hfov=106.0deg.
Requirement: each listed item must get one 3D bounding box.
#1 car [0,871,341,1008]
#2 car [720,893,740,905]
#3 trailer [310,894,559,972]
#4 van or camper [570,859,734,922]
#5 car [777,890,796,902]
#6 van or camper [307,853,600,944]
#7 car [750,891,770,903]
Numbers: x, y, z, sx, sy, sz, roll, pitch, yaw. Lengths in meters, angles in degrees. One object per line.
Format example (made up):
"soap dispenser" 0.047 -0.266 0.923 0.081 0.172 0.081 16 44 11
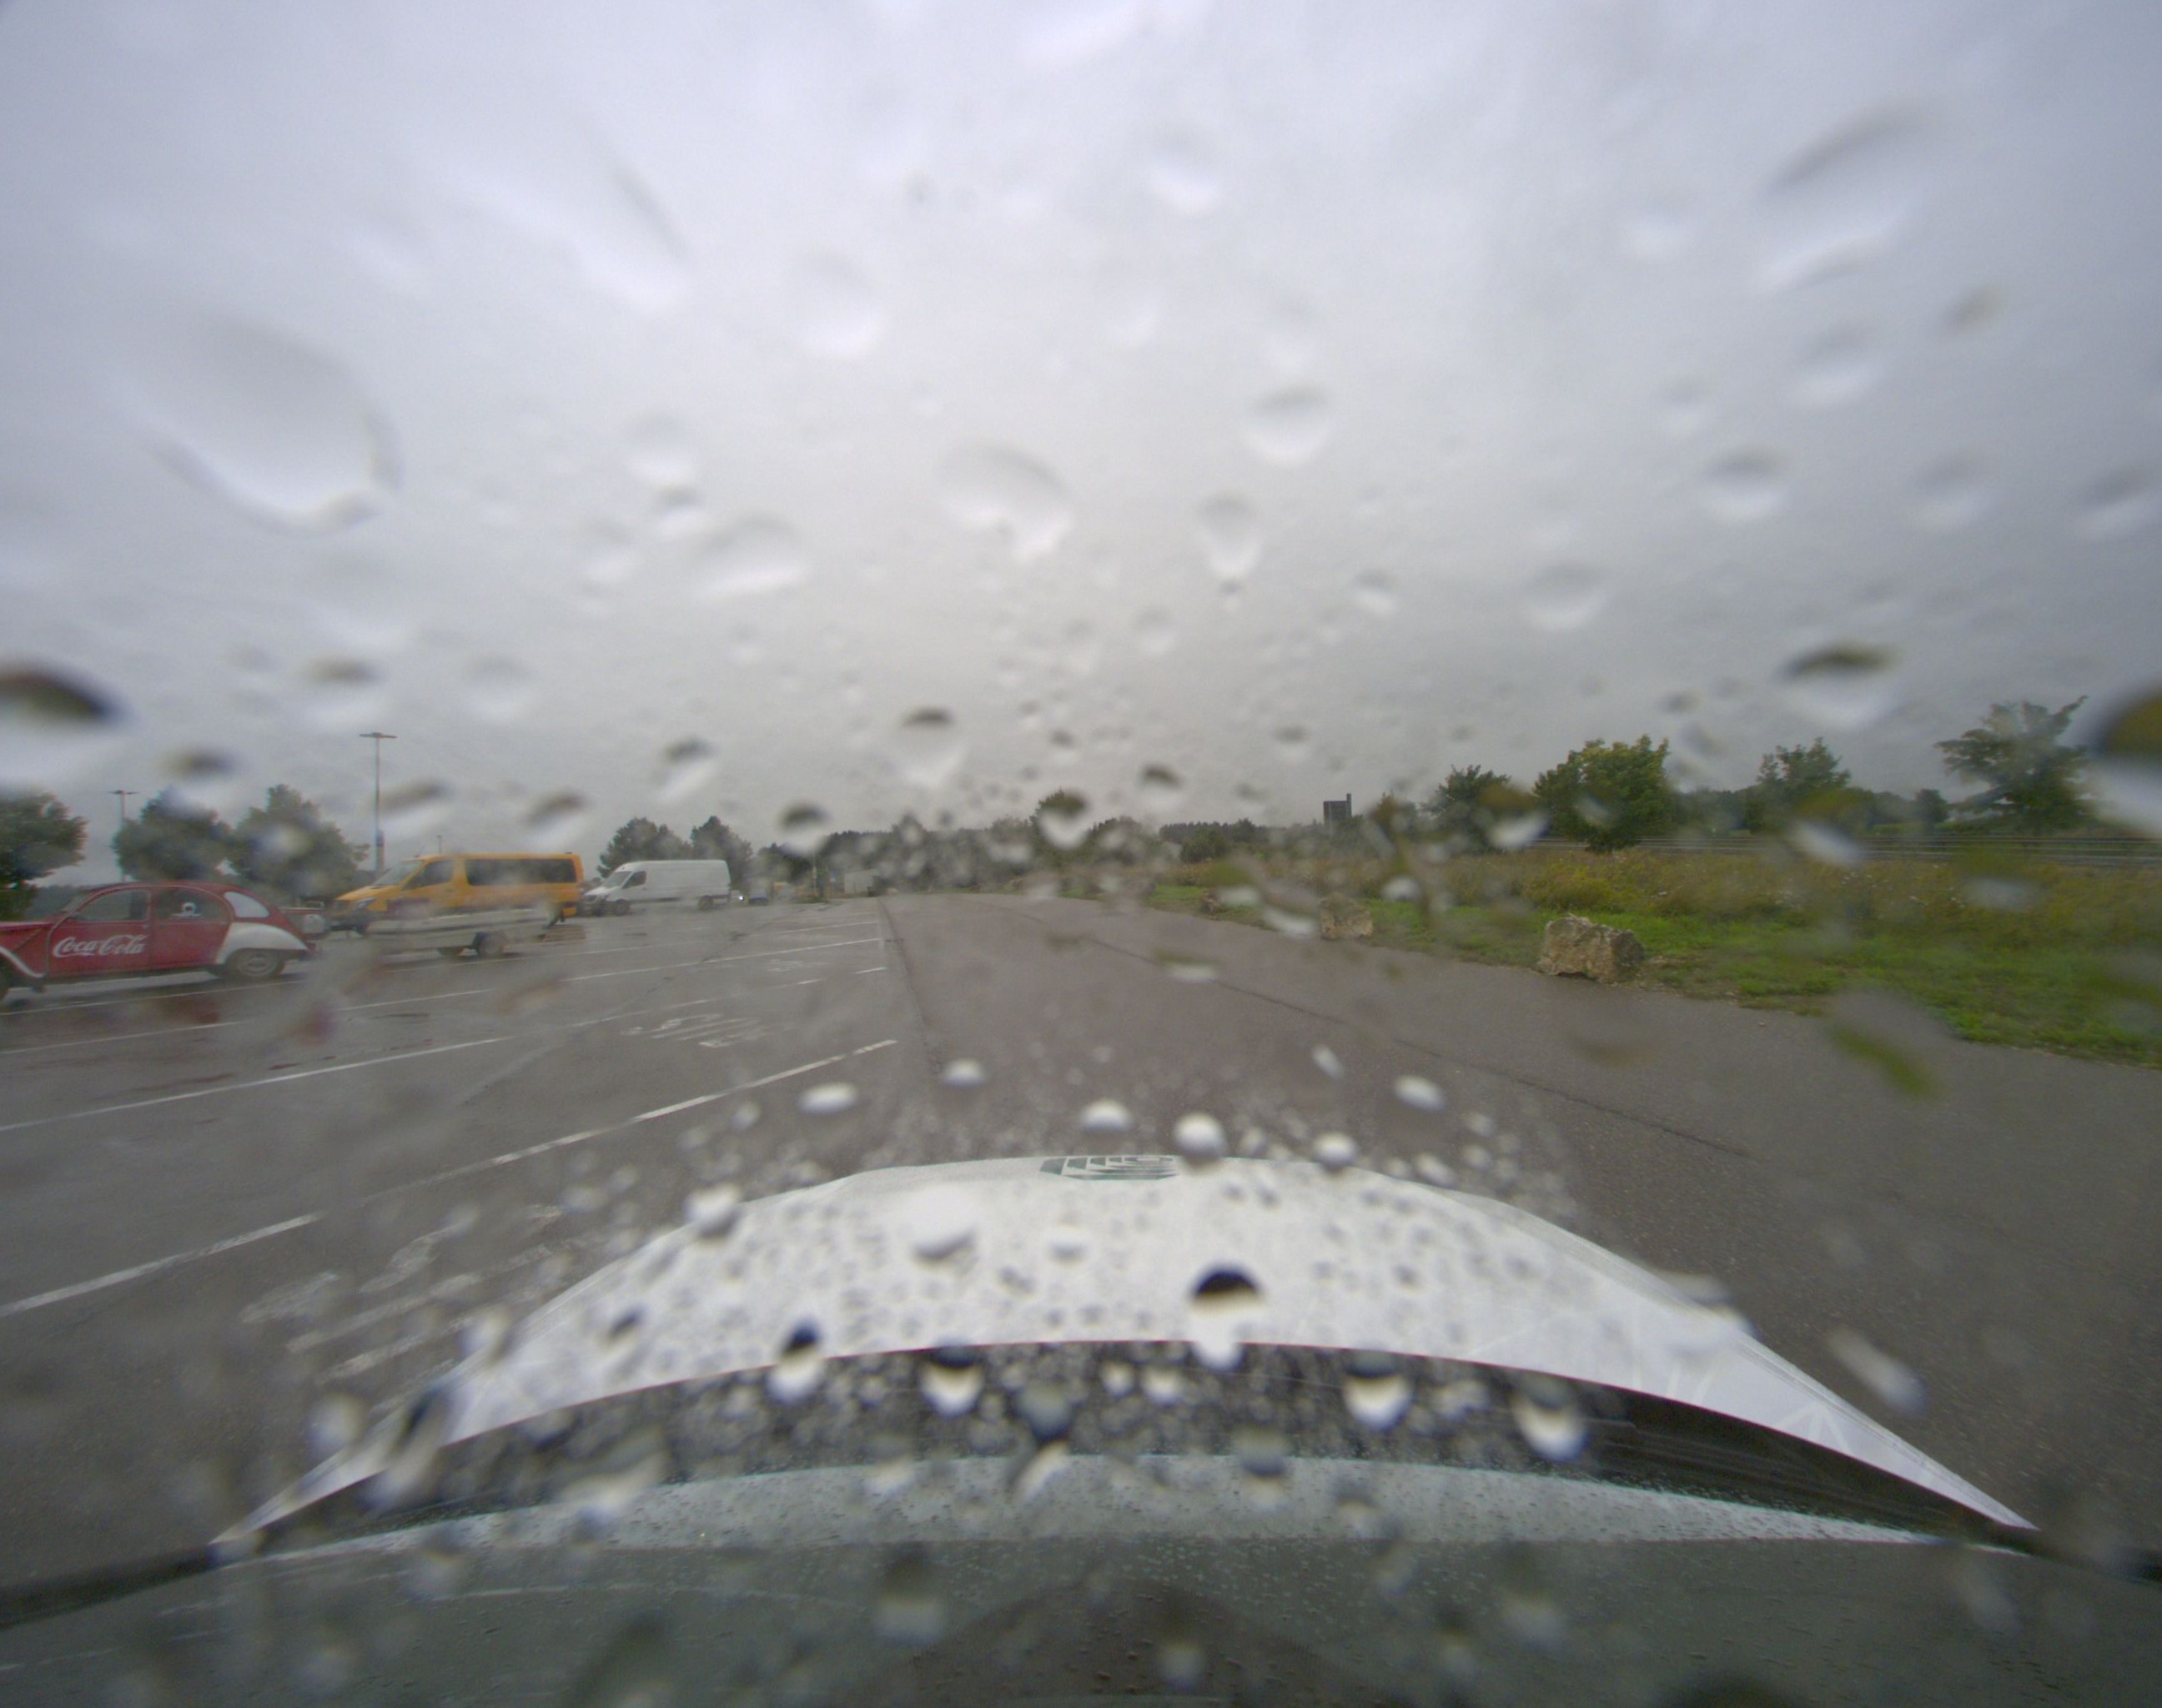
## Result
"car" -13.017 1.081 11.095 1.529 1.555 4.082 -2 -1 34
"car" -33.994 4.317 78.898 1.500 1.000 3.546 -1 0 -19
"trailer" -11.102 1.308 14.151 1.568 1.067 3.049 -3 -2 34
"van or camper" -20.773 1.635 39.949 1.974 2.715 7.113 0 0 31
"car" -29.524 4.190 81.586 1.709 1.000 3.743 -1 0 -19
"van or camper" -18.012 1.160 23.902 2.107 2.246 6.458 -2 0 31
"car" -32.014 4.248 81.237 1.709 1.000 3.743 -1 0 -19
